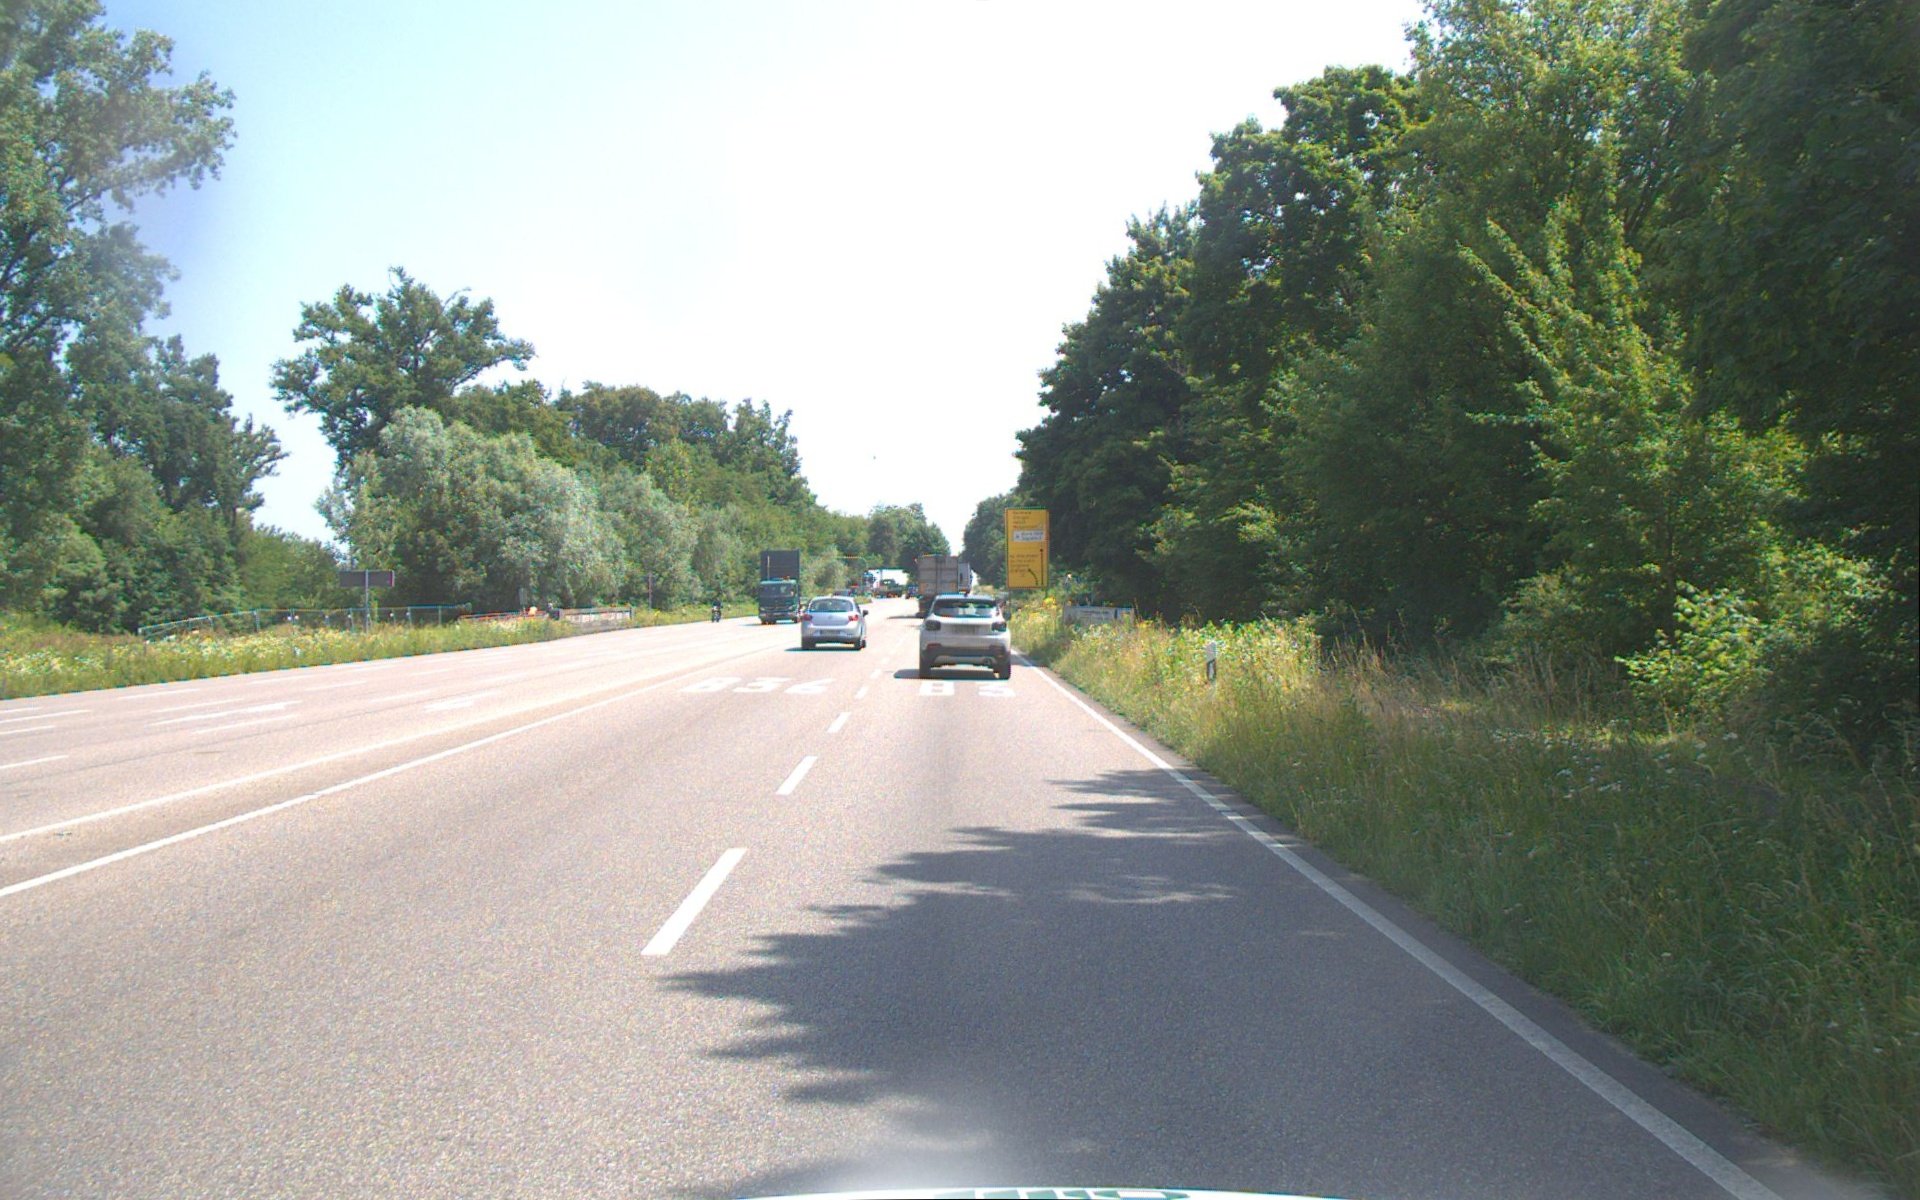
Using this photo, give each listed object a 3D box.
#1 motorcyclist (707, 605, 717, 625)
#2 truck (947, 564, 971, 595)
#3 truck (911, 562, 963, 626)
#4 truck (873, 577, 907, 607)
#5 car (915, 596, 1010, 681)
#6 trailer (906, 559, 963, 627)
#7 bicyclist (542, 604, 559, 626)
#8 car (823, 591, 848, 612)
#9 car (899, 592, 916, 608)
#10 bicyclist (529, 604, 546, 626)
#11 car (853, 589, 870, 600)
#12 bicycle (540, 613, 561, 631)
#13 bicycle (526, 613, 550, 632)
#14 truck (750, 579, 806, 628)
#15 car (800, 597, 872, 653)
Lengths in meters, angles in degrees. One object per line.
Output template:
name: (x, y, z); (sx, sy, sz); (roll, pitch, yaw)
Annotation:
motorcyclist: (-17.291, 1.028, 115.479); (0.566, 1.377, 0.754); (-2, 0, -2)
truck: (-0.212, -2.961, 239.035); (3.426, 4.261, 10.782); (0, 0, -1)
truck: (-1.448, -0.355, 109.556); (3.264, 4.058, 6.533); (0, 0, 1)
truck: (-10.220, -1.103, 240.293); (3.580, 4.177, 9.485); (-1, 0, -10)
car: (0.067, 0.700, 32.316); (1.731, 1.562, 4.000); (0, 0, 1)
trailer: (-1.511, -0.385, 104.308); (3.313, 4.058, 10.804); (0, 0, 1)
bicyclist: (-24.282, 0.888, 98.088); (0.719, 1.216, 0.592); (-2, -1, 11)
car: (-11.804, 0.141, 156.954); (1.953, 1.914, 4.959); (-2, 0, -1)
car: (-6.945, -0.054, 218.928); (1.953, 2.049, 4.554); (-1, 0, 0)
bicyclist: (-24.262, 0.840, 95.022); (0.741, 1.216, 0.592); (-2, 0, 10)
car: (-15.322, -0.809, 257.833); (1.960, 1.613, 3.986); (0, 0, -14)
bicycle: (-24.269, 1.289, 98.130); (0.591, 1.023, 1.557); (-2, 0, 11)
bicycle: (-24.250, 1.303, 95.036); (0.661, 1.022, 1.802); (-2, 0, 10)
truck: (-10.789, 0.178, 98.610); (2.404, 2.702, 6.491); (-3, 0, 0)
car: (-3.386, 0.652, 45.671); (1.631, 1.455, 3.828); (0, 0, 1)
